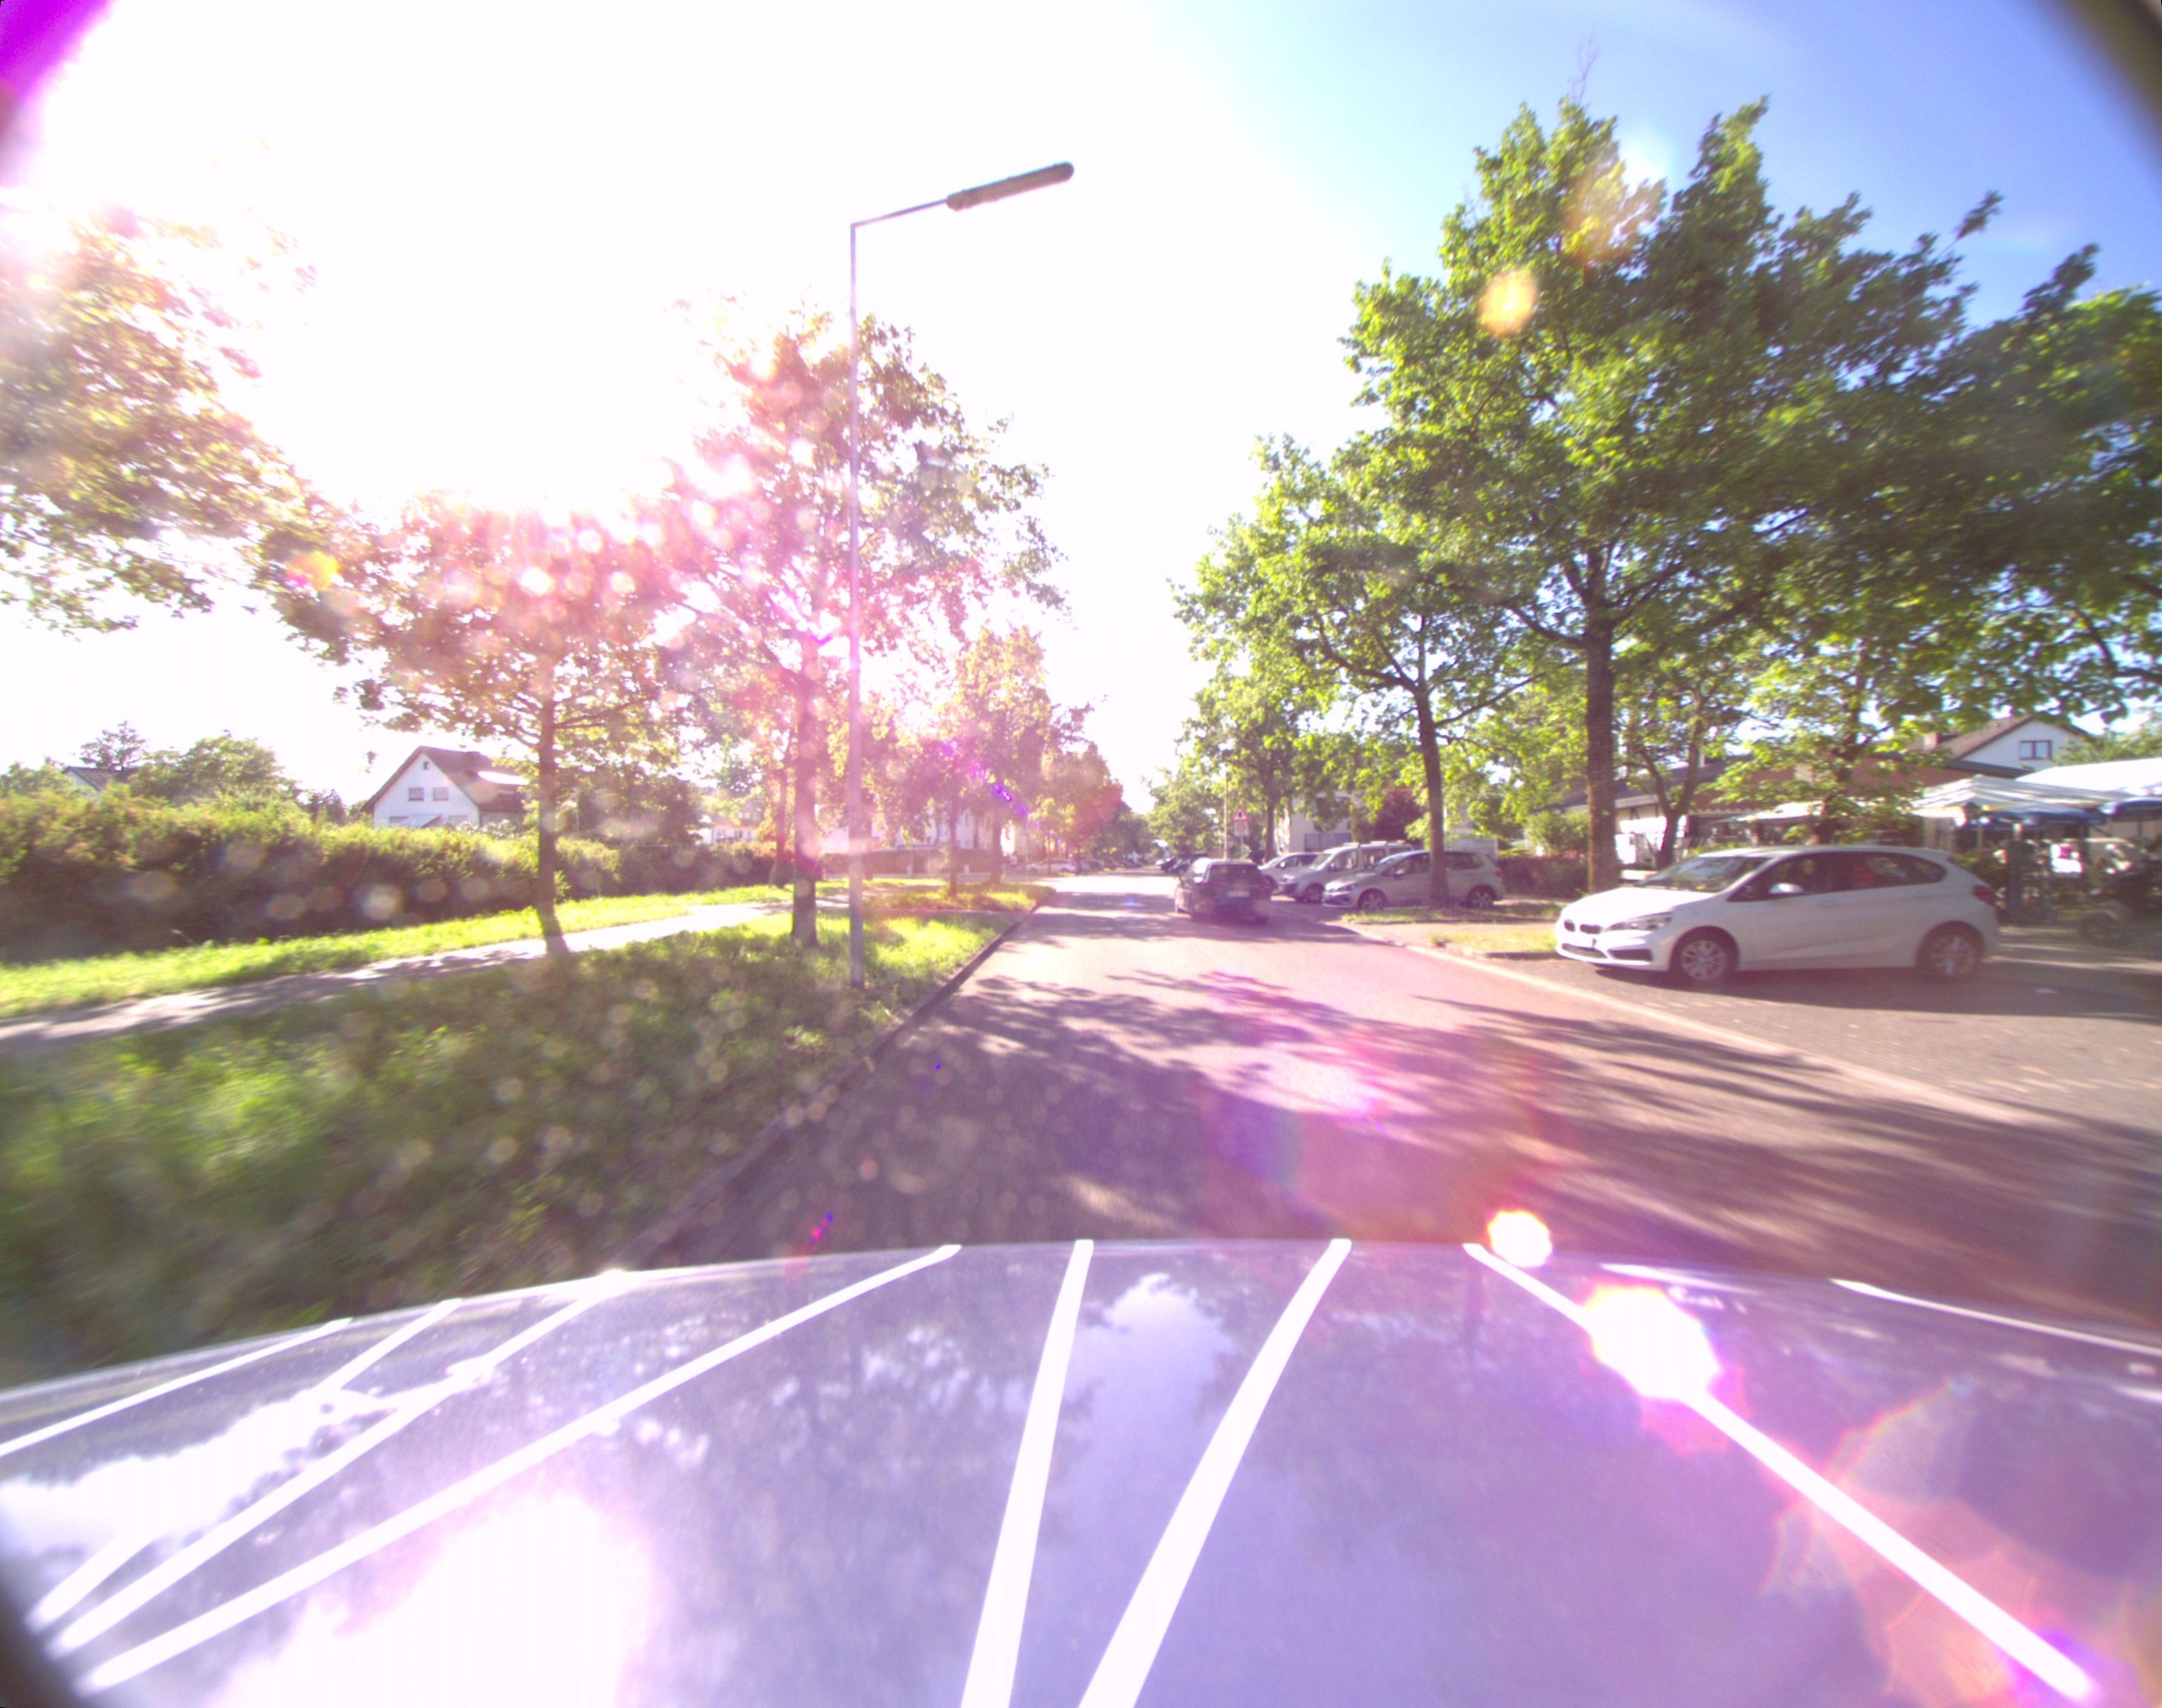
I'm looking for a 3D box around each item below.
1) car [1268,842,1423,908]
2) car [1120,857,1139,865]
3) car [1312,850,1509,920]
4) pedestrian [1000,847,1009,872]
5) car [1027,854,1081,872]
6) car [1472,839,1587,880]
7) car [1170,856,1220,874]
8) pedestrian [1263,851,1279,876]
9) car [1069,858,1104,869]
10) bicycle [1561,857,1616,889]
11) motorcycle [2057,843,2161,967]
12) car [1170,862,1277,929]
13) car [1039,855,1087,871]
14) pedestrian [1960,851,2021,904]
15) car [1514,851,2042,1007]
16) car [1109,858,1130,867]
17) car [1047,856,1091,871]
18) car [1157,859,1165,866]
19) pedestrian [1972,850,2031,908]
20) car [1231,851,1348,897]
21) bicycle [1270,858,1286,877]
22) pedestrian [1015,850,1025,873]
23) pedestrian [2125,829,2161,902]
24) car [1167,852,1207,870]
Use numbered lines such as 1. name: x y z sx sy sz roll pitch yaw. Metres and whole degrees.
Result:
1. car: 8.414 0.648 24.435 4.238 1.872 1.998 -2 0 0
2. car: 10.625 1.496 166.781 4.034 1.767 1.942 0 0 6
3. car: 8.226 0.753 19.260 4.146 1.547 1.866 -2 0 2
4. pedestrian: -6.067 0.448 60.299 0.610 2.002 0.834 0 0 2
5. car: -2.313 0.766 65.239 4.511 1.470 1.941 0 0 2
6. car: 27.647 0.323 47.055 5.813 2.439 2.002 0 0 10
7. car: 9.521 0.951 63.621 4.034 1.470 1.942 0 0 6
8. pedestrian: 11.783 0.585 47.058 0.728 1.534 0.867 0 2 -2
9. car: 0.781 1.263 99.984 4.511 1.470 1.941 0 0 2
10. bicycle: 17.879 0.663 26.813 0.641 1.081 1.882 0 0 -2
11. motorcycle: 13.102 0.599 8.893 0.739 1.424 1.991 -4 0 1
12. car: 3.284 0.907 18.358 1.688 1.394 4.426 0 0 -1
13. car: -1.746 0.879 73.893 4.511 1.470 1.941 0 0 2
14. pedestrian: 23.479 0.600 19.625 0.664 1.327 0.870 0 1 21
15. car: 8.096 0.815 9.244 4.423 1.547 2.088 -2 0 2
16. car: 7.482 1.595 147.898 4.034 1.767 1.942 0 0 6
17. car: -1.240 1.002 79.151 4.511 1.470 1.941 0 0 2
18. car: 20.876 2.180 198.544 1.939 1.767 4.041 0 0 7
19. pedestrian: 22.650 0.602 18.696 0.870 1.406 0.664 -1 1 -19
20. car: 8.093 0.763 29.826 4.072 1.633 1.876 -2 0 3
21. bicycle: 12.116 0.819 46.806 0.640 1.081 1.891 0 2 4
22. pedestrian: -4.833 0.591 60.120 0.665 1.855 0.869 0 0 2
23. pedestrian: 21.206 0.224 14.867 0.644 1.406 0.666 0 1 17
24. car: 10.857 0.735 78.304 4.034 1.767 1.942 0 0 6
